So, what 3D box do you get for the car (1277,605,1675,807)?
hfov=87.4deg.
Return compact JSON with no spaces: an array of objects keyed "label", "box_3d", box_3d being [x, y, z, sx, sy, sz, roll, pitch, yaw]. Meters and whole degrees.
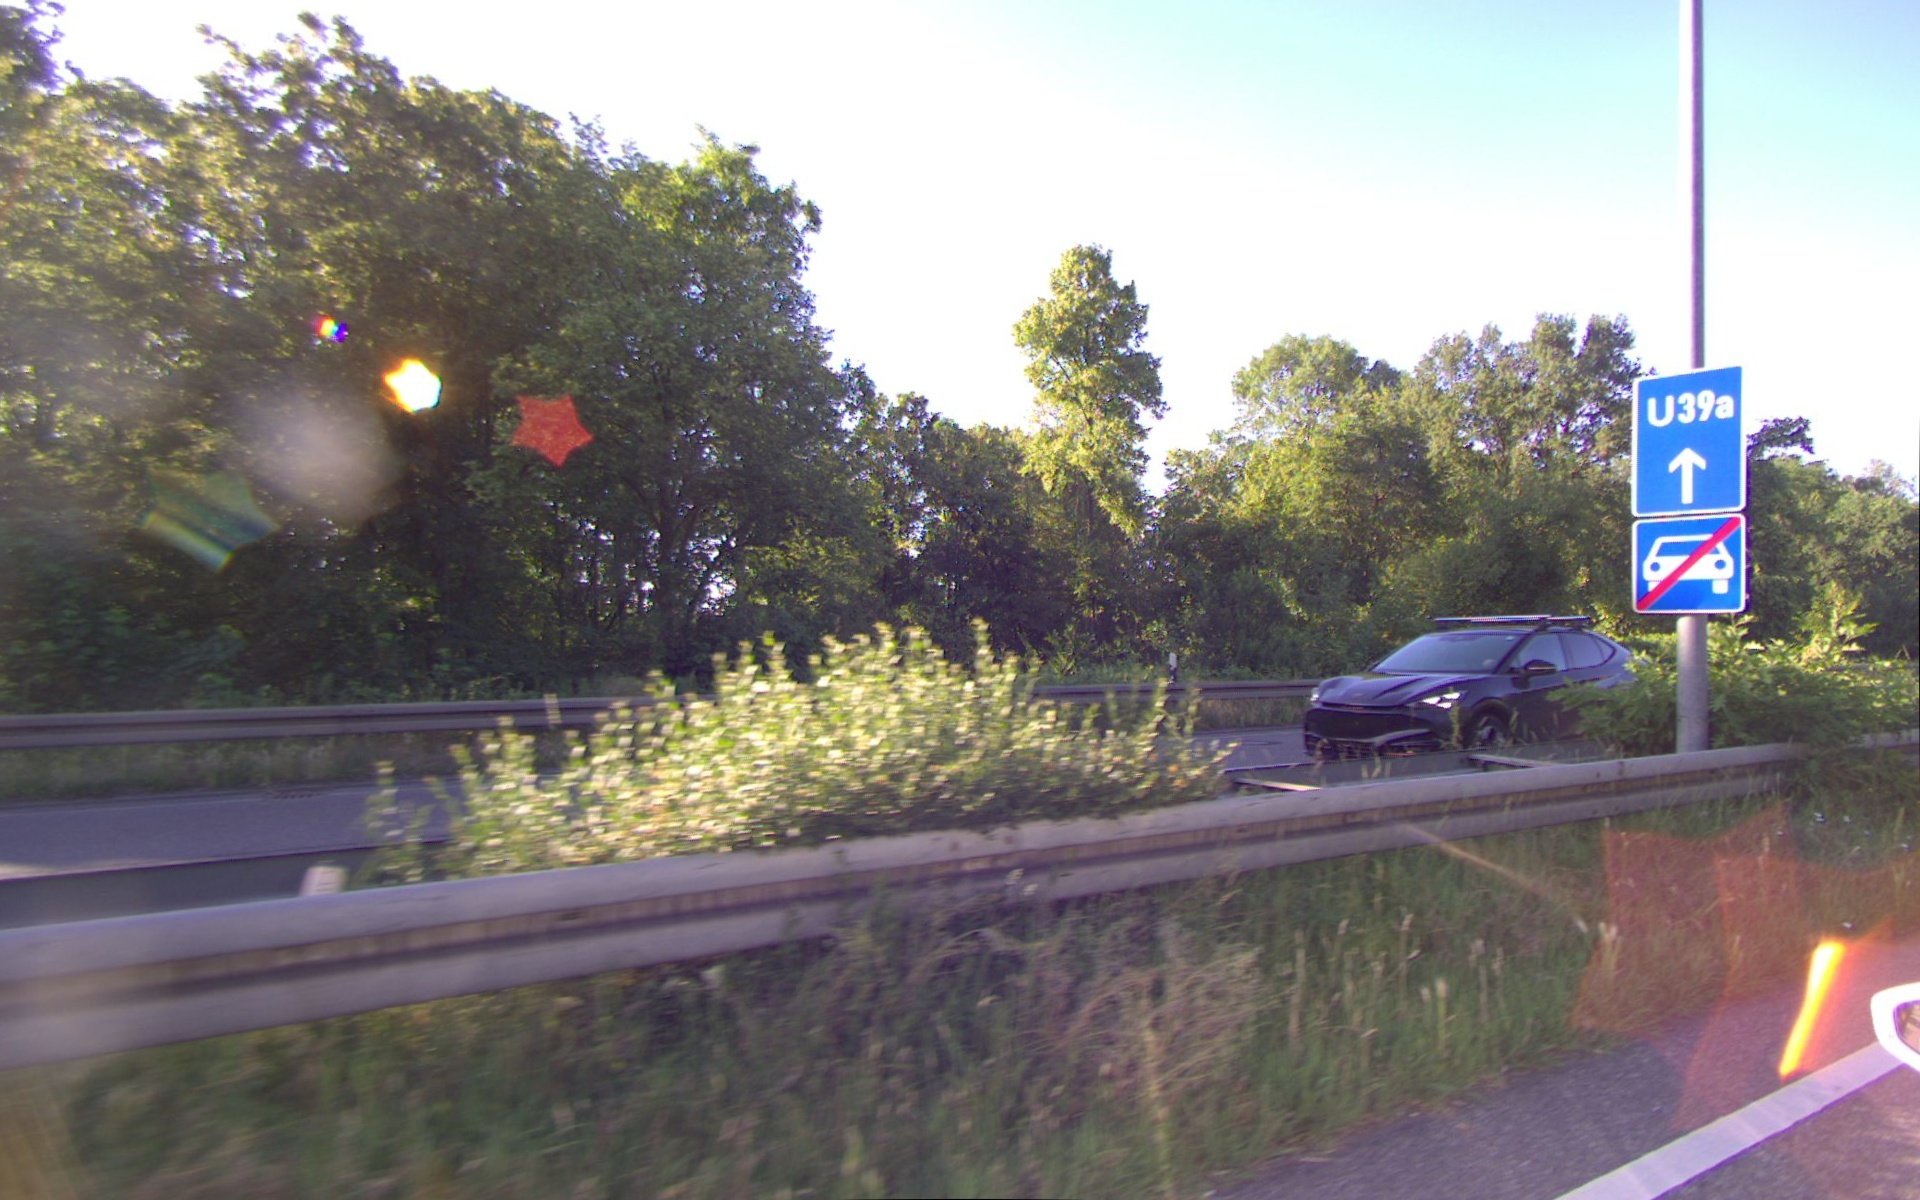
[{"label":"car","box_3d":[5.616,0.998,10.817,4.287,1.795,1.825,1,-2,-30]}]
